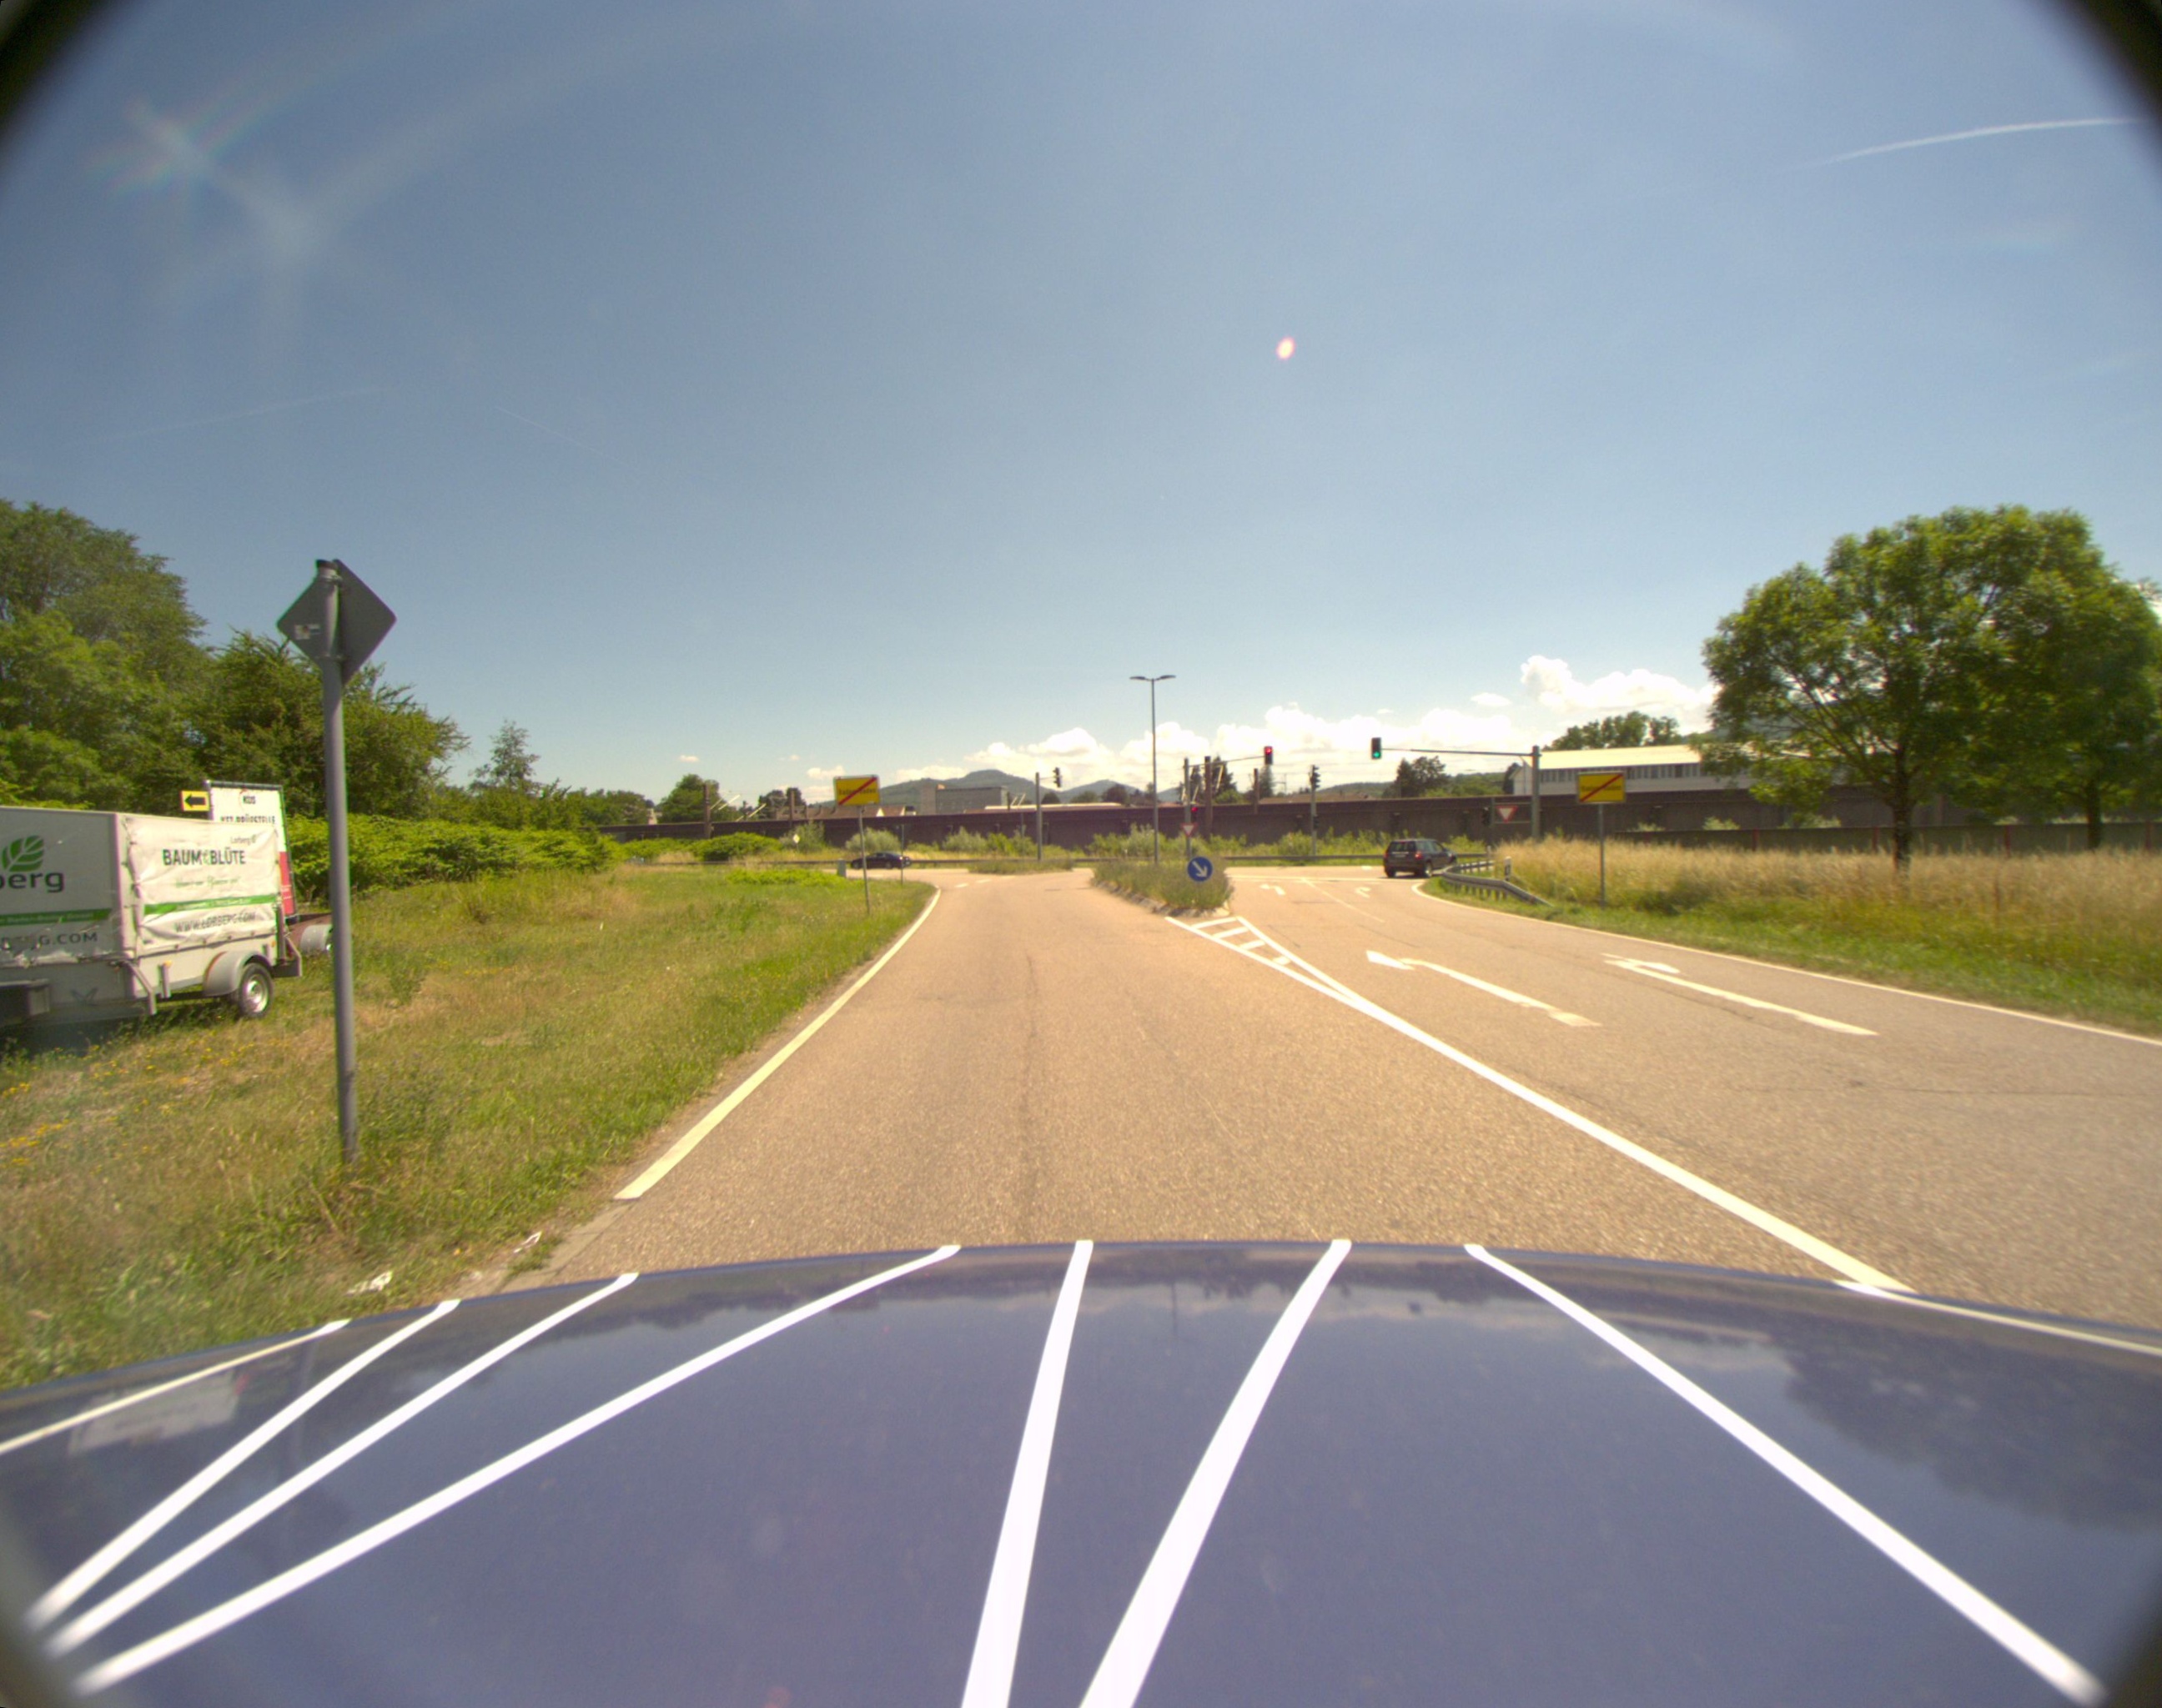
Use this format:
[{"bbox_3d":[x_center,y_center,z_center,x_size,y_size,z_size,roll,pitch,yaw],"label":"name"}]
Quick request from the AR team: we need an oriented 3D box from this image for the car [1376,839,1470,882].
[{"bbox_3d":[15.726,0.244,34.895,4.491,1.713,1.994,-2,4,-37],"label":"car"}]

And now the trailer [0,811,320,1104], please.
[{"bbox_3d":[-9.038,0.731,6.843,1.854,2.066,3.960,-2,2,-27],"label":"trailer"}]

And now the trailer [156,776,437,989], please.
[{"bbox_3d":[-11.298,0.308,11.276,1.854,2.655,3.140,-2,2,-27],"label":"trailer"}]

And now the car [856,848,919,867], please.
[{"bbox_3d":[-15.289,0.249,59.977,4.508,1.446,1.791,0,1,19],"label":"car"}]
